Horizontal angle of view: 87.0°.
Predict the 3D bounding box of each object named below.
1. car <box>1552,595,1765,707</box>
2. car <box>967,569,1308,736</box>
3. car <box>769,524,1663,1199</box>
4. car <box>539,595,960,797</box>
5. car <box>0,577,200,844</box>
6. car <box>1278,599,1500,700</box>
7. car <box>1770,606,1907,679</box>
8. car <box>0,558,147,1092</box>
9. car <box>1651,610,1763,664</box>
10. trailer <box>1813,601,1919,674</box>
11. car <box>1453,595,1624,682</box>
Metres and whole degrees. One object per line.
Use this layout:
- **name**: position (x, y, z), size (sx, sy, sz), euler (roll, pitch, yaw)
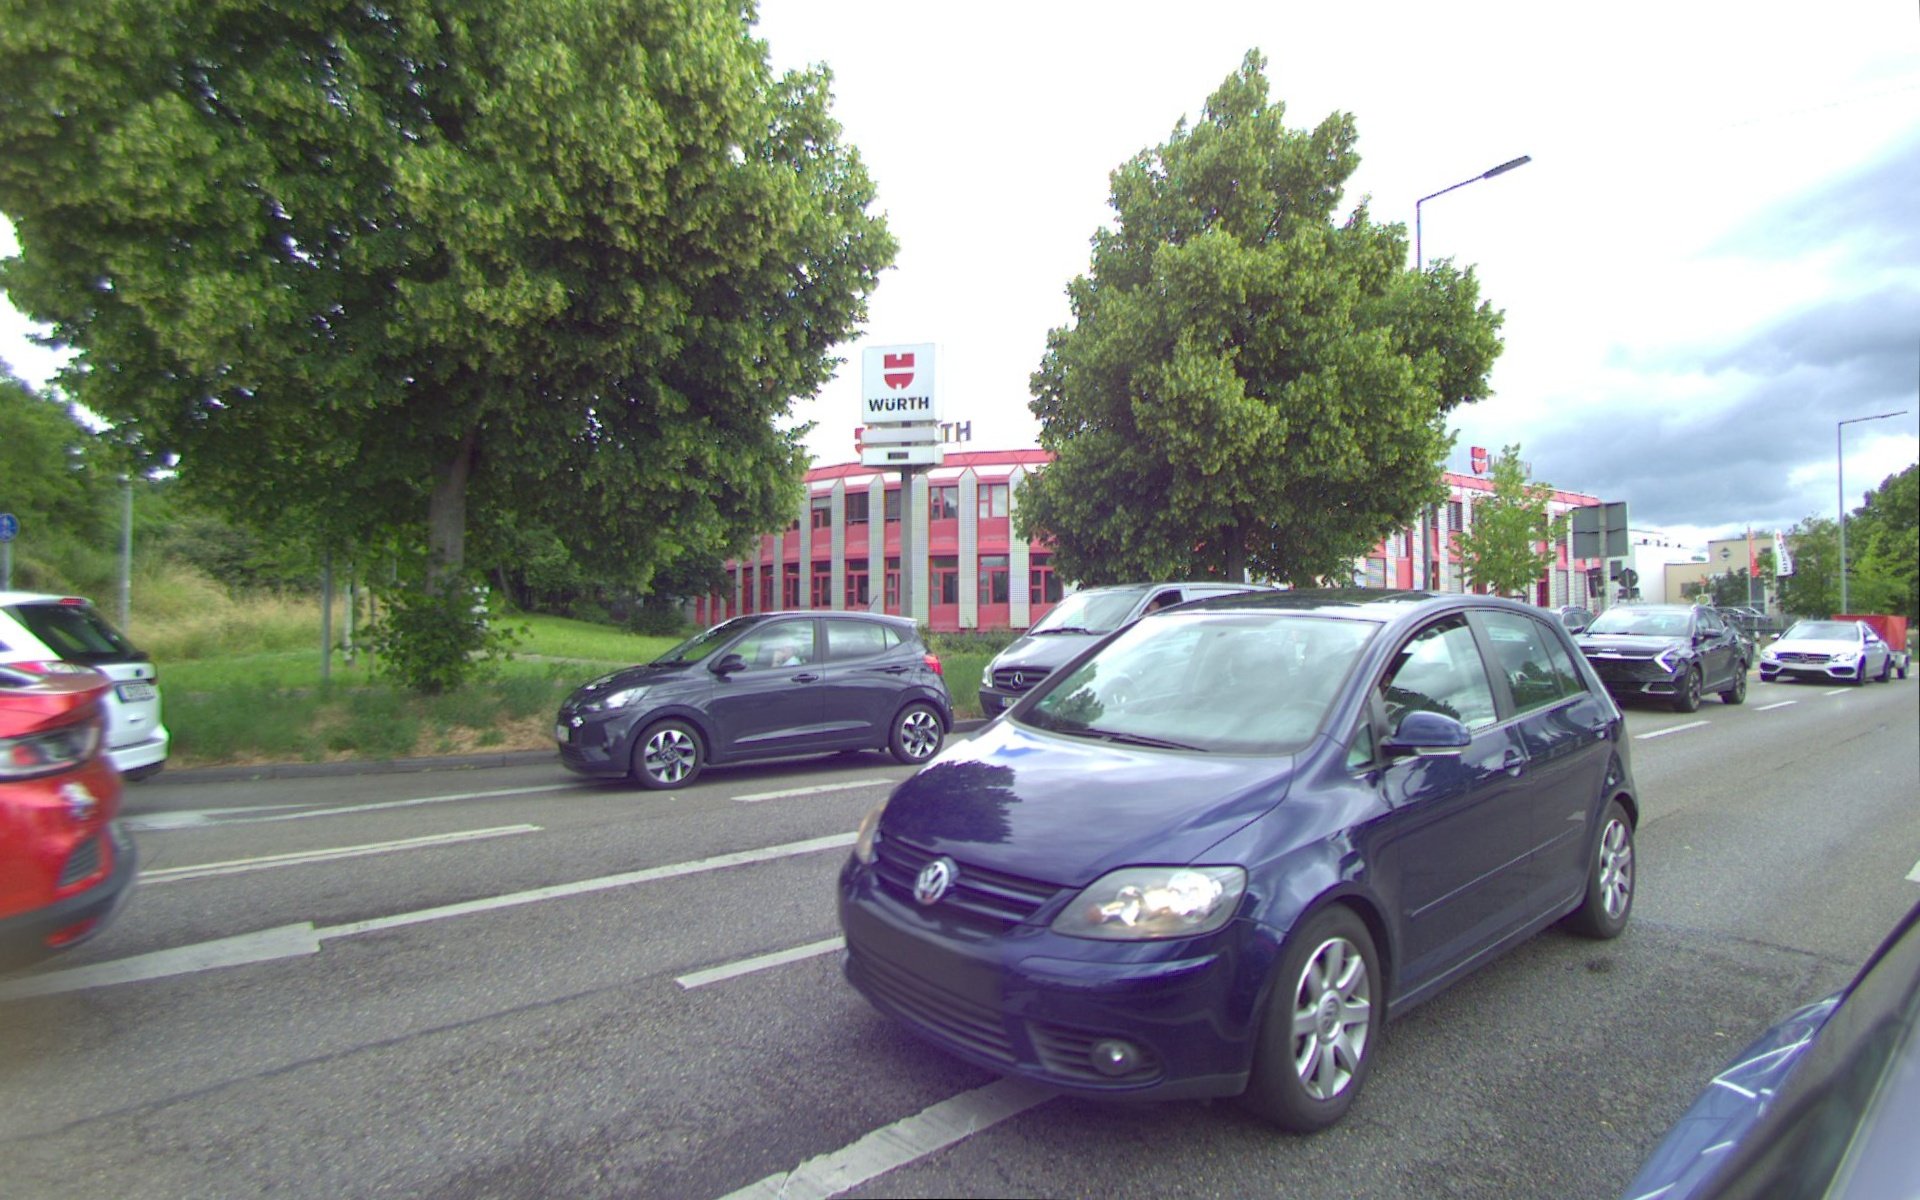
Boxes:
- **car**: position (11.382, 0.718, 16.388), size (4.143, 1.549, 1.797), euler (-1, 1, -40)
- **car**: position (2.421, 0.647, 13.094), size (4.591, 1.798, 1.761), euler (1, -4, -40)
- **car**: position (1.353, 0.614, 4.187), size (3.927, 1.618, 1.667), euler (-1, 0, -41)
- **car**: position (-1.915, 0.774, 9.483), size (3.495, 1.526, 1.607), euler (-1, -3, -34)
- **car**: position (-7.872, 0.703, 6.633), size (4.278, 1.676, 1.767), euler (0, -1, -20)
- **car**: position (7.404, 0.799, 17.317), size (4.034, 1.536, 1.842), euler (0, -4, -41)
- **car**: position (20.550, 0.915, 23.624), size (4.323, 1.469, 1.774), euler (-1, 1, -40)
- **car**: position (-4.758, 0.643, 2.444), size (4.300, 1.549, 1.850), euler (0, 0, -41)
- **car**: position (21.959, 1.032, 29.692), size (4.293, 1.458, 1.761), euler (0, -1, -41)
- **trailer**: position (23.695, 0.907, 26.252), size (3.926, 1.680, 1.774), euler (-1, 0, -40)
- **car**: position (12.389, 0.804, 21.576), size (4.133, 1.679, 1.863), euler (1, -3, -41)
